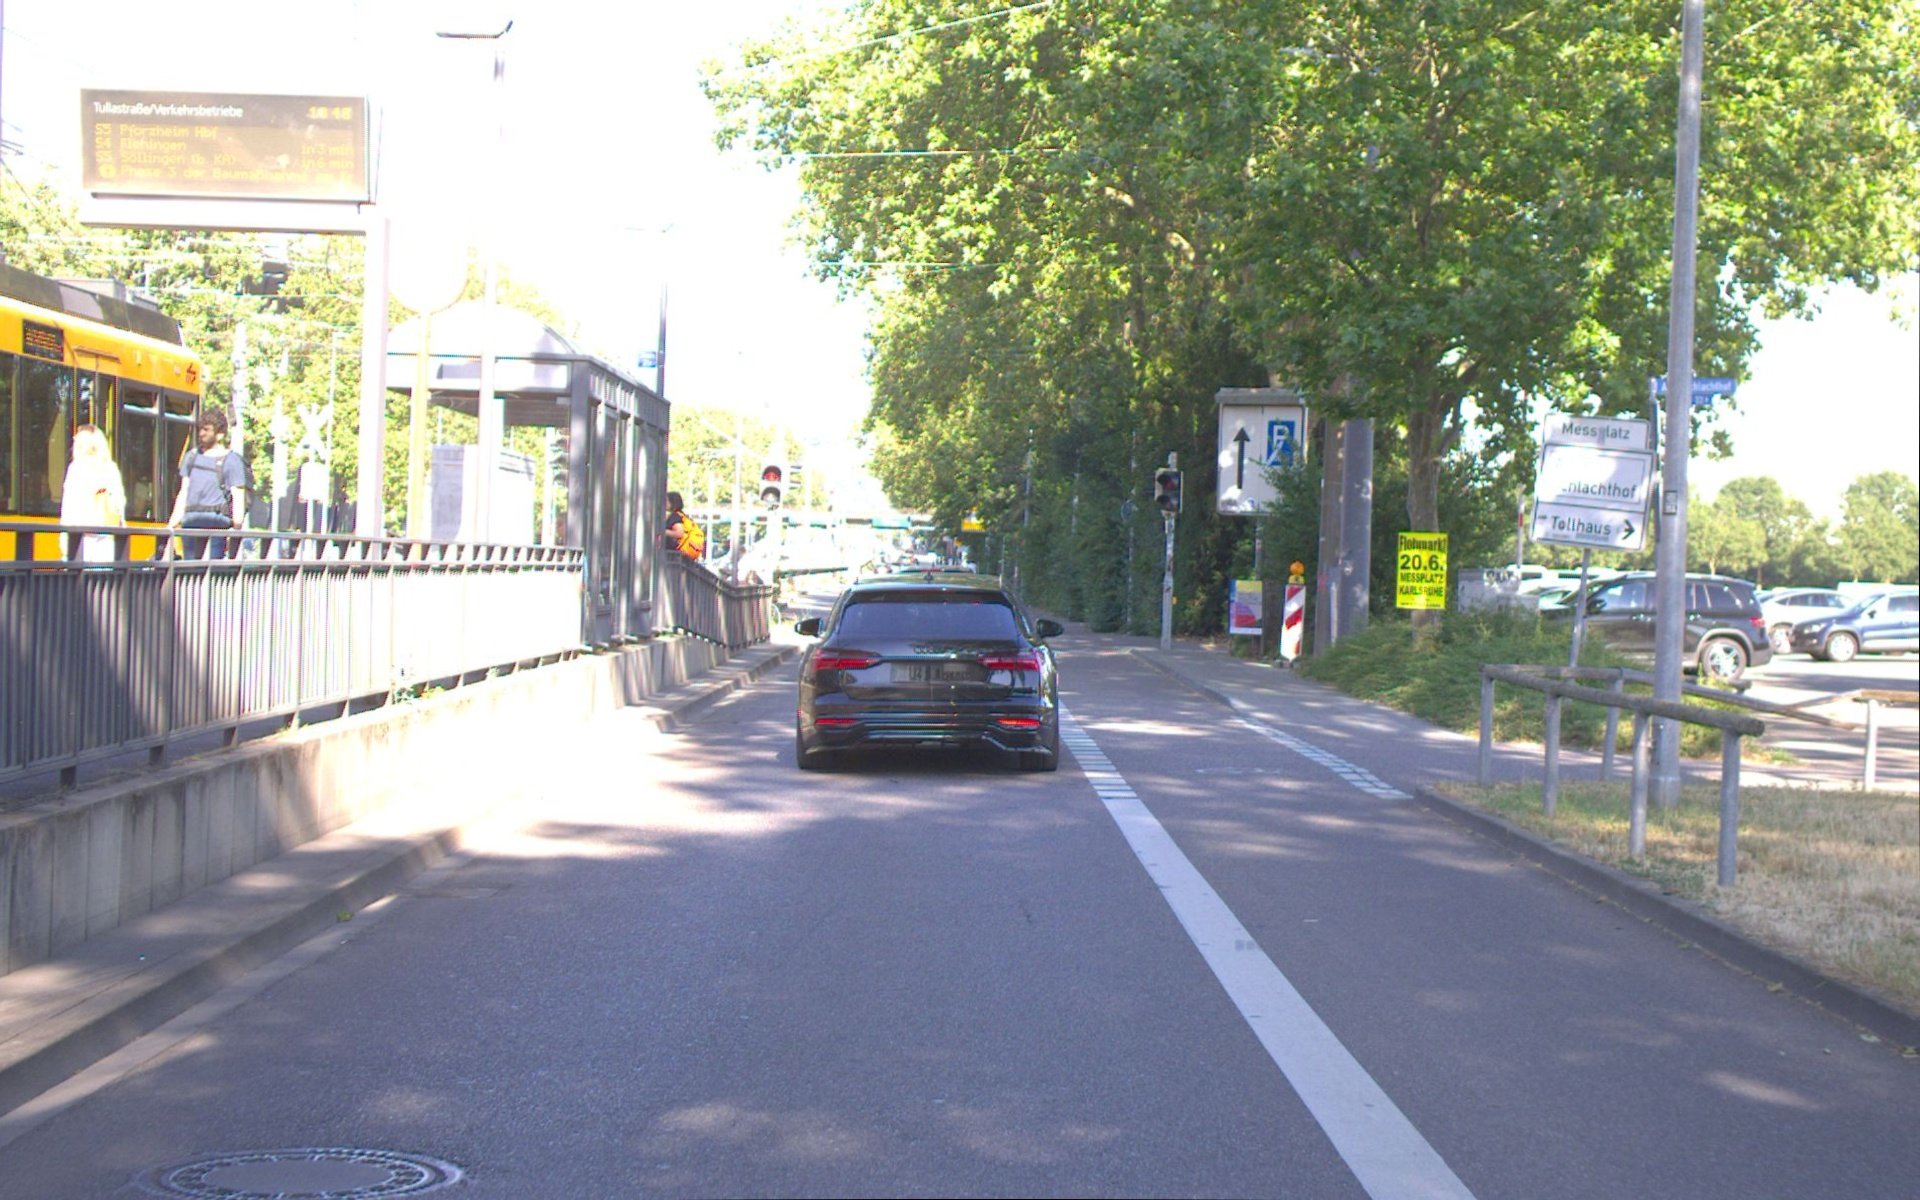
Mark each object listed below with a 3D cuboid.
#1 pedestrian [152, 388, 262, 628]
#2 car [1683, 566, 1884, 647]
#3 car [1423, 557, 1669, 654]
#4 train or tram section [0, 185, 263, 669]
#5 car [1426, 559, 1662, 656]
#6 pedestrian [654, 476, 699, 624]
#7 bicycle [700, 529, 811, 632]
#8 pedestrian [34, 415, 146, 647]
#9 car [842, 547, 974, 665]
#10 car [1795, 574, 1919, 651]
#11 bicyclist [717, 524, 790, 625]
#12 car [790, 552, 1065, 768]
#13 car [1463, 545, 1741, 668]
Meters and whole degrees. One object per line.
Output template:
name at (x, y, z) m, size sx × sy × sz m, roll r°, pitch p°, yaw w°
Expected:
pedestrian at (-5.503, -0.668, 25.159) m, size 0.611 × 1.707 × 0.660 m, roll 2°, pitch 1°, yaw -2°
car at (20.342, 0.159, 85.030) m, size 4.351 × 1.809 × 2.000 m, roll 2°, pitch 1°, yaw -4°
car at (10.091, 0.082, 59.366) m, size 3.886 × 1.499 × 1.888 m, roll 2°, pitch 1°, yaw 1°
train or tram section at (-9.321, -1.487, 31.965) m, size 3.309 × 3.816 × 11.844 m, roll 2°, pitch 1°, yaw -1°
car at (9.675, 0.113, 57.144) m, size 3.594 × 1.457 × 1.678 m, roll 2°, pitch 1°, yaw 1°
pedestrian at (-3.326, -0.587, 40.350) m, size 0.412 × 1.711 × 0.666 m, roll 2°, pitch 1°, yaw -1°
bicycle at (-3.536, -0.330, 59.561) m, size 1.968 × 1.711 × 0.591 m, roll 2°, pitch 1°, yaw -45°
pedestrian at (-6.591, -0.522, 26.055) m, size 0.657 × 1.707 × 0.613 m, roll 2°, pitch 1°, yaw -3°
car at (-0.814, 0.057, 51.355) m, size 1.762 × 1.614 × 4.001 m, roll 2°, pitch 1°, yaw -3°
car at (20.859, 0.294, 77.057) m, size 3.812 × 1.603 × 1.670 m, roll 2°, pitch 1°, yaw 0°
bicyclist at (-3.578, -0.436, 59.539) m, size 0.770 × 1.711 × 0.907 m, roll 3°, pitch 1°, yaw 45°
car at (-0.303, 0.395, 25.360) m, size 1.878 × 1.452 × 3.357 m, roll 0°, pitch 1°, yaw -3°
car at (10.083, 0.089, 54.185) m, size 3.987 × 1.758 × 1.833 m, roll 2°, pitch 1°, yaw 0°
